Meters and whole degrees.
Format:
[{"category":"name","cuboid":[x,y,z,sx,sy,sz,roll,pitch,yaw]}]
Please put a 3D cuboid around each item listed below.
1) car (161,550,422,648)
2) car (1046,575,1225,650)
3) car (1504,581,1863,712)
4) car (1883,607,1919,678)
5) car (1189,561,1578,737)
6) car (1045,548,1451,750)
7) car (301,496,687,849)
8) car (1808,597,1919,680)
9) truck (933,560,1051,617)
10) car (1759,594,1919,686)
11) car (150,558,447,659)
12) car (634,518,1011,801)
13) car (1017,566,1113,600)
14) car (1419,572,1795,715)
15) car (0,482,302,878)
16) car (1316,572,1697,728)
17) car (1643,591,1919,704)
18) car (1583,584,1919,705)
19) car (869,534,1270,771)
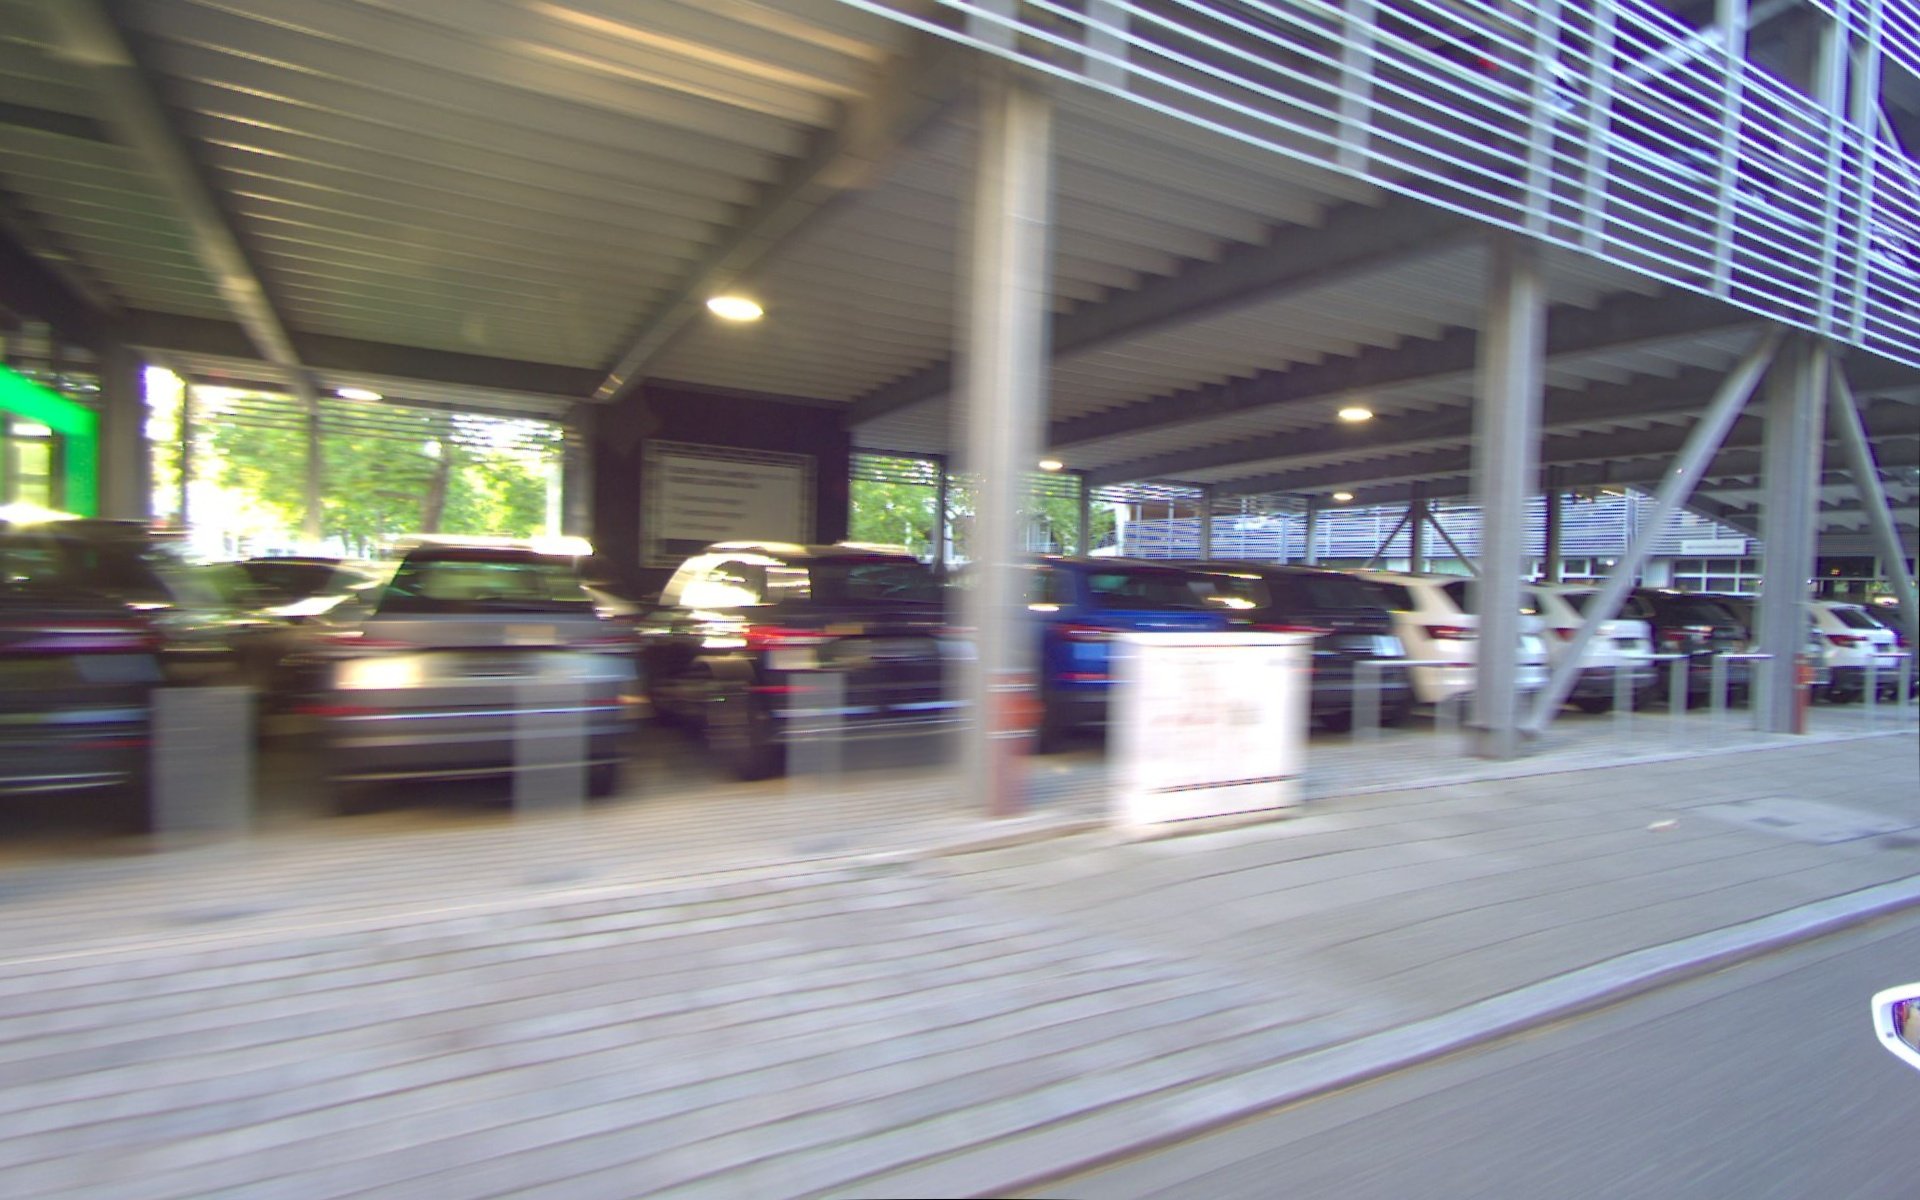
[{"category":"car","cuboid":[-12.116,-0.011,18.538,3.823,1.639,1.810,1,2,-29]},{"category":"car","cuboid":[3.846,0.218,22.777,1.836,1.541,4.189,0,1,-27]},{"category":"car","cuboid":[10.885,0.590,15.457,1.836,1.706,4.086,0,1,-27]},{"category":"car","cuboid":[23.391,1.055,22.232,1.839,1.607,3.967,3,0,-30]},{"category":"car","cuboid":[4.772,0.436,11.935,1.836,1.706,4.010,0,1,-27]},{"category":"car","cuboid":[2.794,0.382,10.748,1.836,1.706,4.133,0,1,-27]},{"category":"car","cuboid":[-3.315,0.315,7.121,1.836,1.706,4.149,0,1,-27]},{"category":"car","cuboid":[20.934,0.828,21.335,1.836,1.706,4.063,0,1,-27]},{"category":"truck","cuboid":[1.434,-0.632,49.642,2.417,2.603,6.880,1,1,-31]},{"category":"car","cuboid":[18.860,0.773,20.129,1.836,1.706,4.071,0,1,-27]},{"category":"car","cuboid":[-10.495,0.132,16.291,3.823,1.473,1.810,1,2,-29]},{"category":"car","cuboid":[-1.389,0.326,8.278,1.836,1.706,4.019,0,1,-27]},{"category":"car","cuboid":[5.309,-0.861,50.788,4.340,1.595,2.283,1,1,-33]},{"category":"car","cuboid":[8.891,0.483,14.208,1.836,1.706,4.086,0,1,-27]},{"category":"car","cuboid":[-5.275,0.303,5.994,1.836,1.706,4.027,0,1,-27]},{"category":"car","cuboid":[6.926,0.508,13.208,1.836,1.706,4.067,0,1,-27]},{"category":"car","cuboid":[14.813,0.722,17.832,1.836,1.706,4.048,0,1,-27]},{"category":"car","cuboid":[12.967,0.620,16.668,1.836,1.706,4.086,0,1,-27]},{"category":"car","cuboid":[0.755,0.340,9.445,1.836,1.706,4.019,0,1,-27]}]
